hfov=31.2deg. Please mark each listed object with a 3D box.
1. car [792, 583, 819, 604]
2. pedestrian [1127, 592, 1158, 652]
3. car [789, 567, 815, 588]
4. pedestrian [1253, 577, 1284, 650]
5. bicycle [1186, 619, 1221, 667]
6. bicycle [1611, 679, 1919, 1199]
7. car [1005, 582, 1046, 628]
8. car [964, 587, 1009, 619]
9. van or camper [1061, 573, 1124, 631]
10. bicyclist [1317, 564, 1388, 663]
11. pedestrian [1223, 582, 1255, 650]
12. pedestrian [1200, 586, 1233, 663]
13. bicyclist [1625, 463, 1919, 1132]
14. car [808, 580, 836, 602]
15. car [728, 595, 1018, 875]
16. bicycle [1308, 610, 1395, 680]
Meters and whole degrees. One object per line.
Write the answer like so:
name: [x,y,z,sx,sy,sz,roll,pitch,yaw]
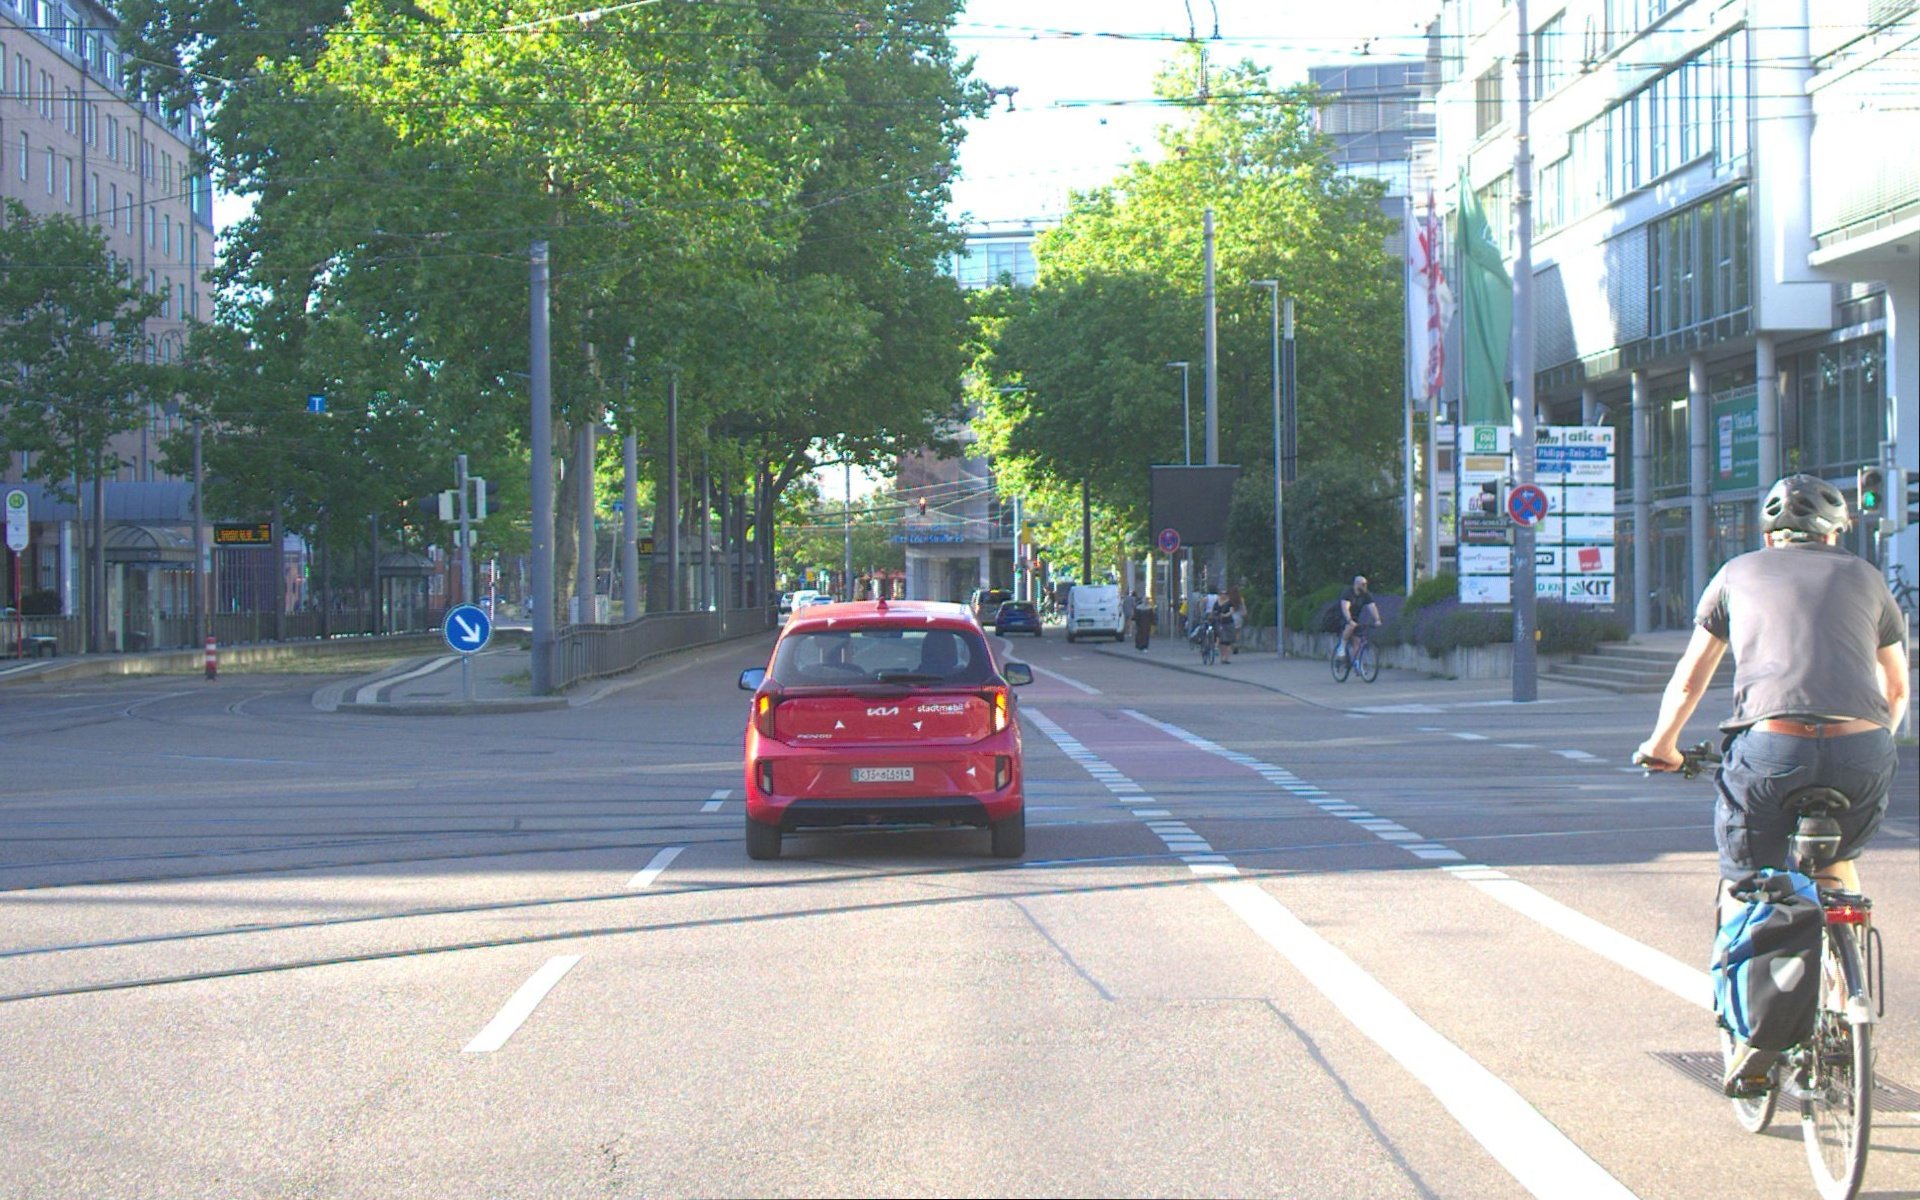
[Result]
car: [-11.347,-0.487,252.482,1.777,1.529,3.412,0,0,-6]
pedestrian: [4.997,0.600,94.132,0.641,1.574,0.723,-4,0,-6]
car: [-11.909,-1.666,258.481,1.777,1.583,3.412,0,0,-6]
pedestrian: [7.755,0.331,86.392,0.540,1.790,0.907,-4,0,-3]
bicycle: [5.377,0.941,76.051,0.520,0.971,2.201,-4,1,-1]
bicycle: [2.127,0.877,8.777,0.650,1.276,1.966,-1,0,3]
car: [2.655,0.190,139.771,1.635,1.794,3.330,-1,0,1]
car: [1.279,0.132,164.374,1.777,1.529,3.513,0,0,-6]
van or camper: [4.650,0.064,121.036,1.993,1.982,4.745,0,0,0]
bicyclist: [6.566,0.226,57.597,0.721,1.597,1.089,-3,1,-18]
pedestrian: [7.046,0.399,86.804,0.564,1.696,0.907,-4,0,-3]
pedestrian: [5.664,0.536,75.962,0.646,1.674,0.651,-1,0,-2]
bicyclist: [2.112,0.469,8.784,0.650,1.597,1.089,-1,0,3]
car: [-9.891,-0.641,245.908,1.777,1.529,3.412,0,0,-6]
car: [-0.516,0.747,20.826,1.613,1.529,3.412,0,0,-1]
bicycle: [6.564,0.747,57.676,0.696,1.095,1.751,-5,1,-18]
